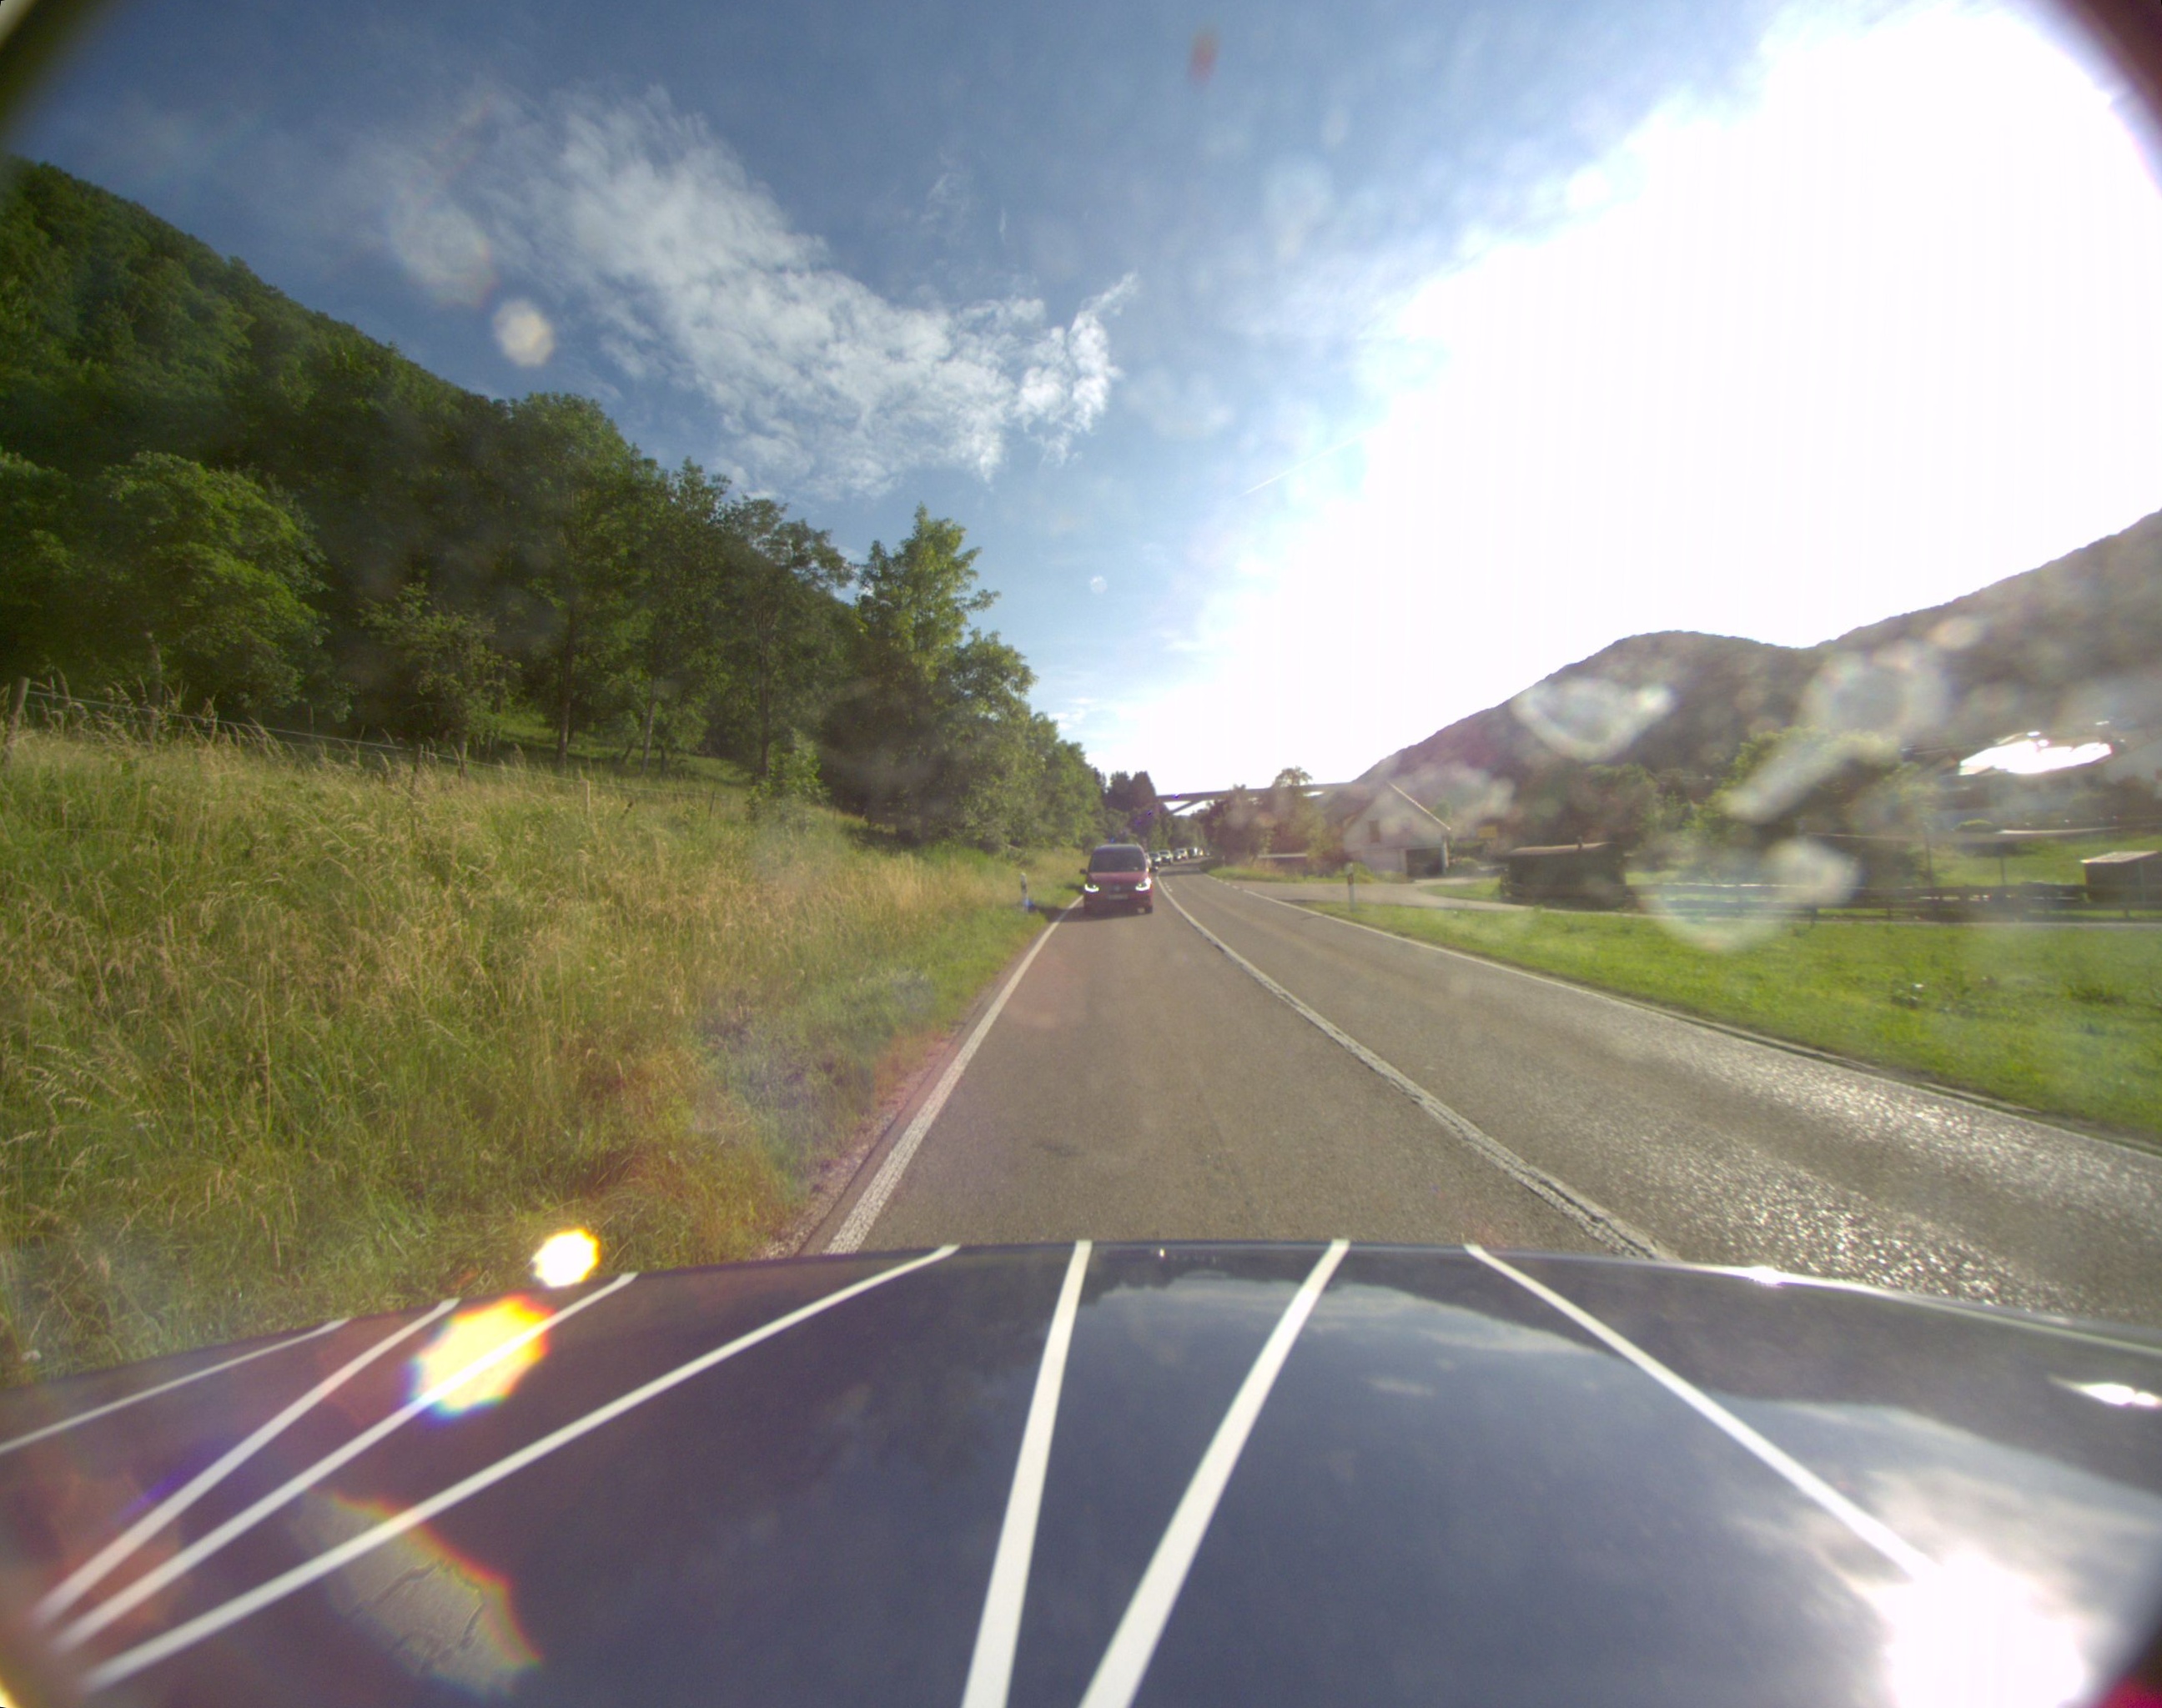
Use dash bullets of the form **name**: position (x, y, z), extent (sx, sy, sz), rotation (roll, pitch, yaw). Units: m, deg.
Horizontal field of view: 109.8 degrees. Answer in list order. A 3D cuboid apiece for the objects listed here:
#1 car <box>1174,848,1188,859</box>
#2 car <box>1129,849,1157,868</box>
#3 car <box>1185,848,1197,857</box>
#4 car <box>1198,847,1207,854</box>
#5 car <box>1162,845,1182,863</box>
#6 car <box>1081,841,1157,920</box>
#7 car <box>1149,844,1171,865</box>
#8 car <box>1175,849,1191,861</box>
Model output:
- **car**: position (15.234, -0.034, 115.581), extent (1.817, 1.608, 4.003), rotation (-1, 1, 10)
- **car**: position (5.314, 0.354, 64.771), extent (1.840, 1.543, 4.181), rotation (-1, 1, 11)
- **car**: position (19.015, -0.267, 131.102), extent (1.817, 1.608, 4.004), rotation (-1, 1, 13)
- **car**: position (27.078, -0.734, 169.352), extent (1.840, 1.543, 4.181), rotation (-1, 1, 11)
- **car**: position (10.289, 0.015, 85.848), extent (1.913, 2.002, 4.003), rotation (-1, 1, 11)
- **car**: position (1.021, 0.632, 20.444), extent (1.772, 1.855, 3.876), rotation (-2, 0, 3)
- **car**: position (7.913, 0.030, 76.084), extent (1.913, 2.002, 4.003), rotation (-1, 1, 10)
- **car**: position (13.713, 0.159, 102.180), extent (1.840, 1.543, 4.181), rotation (-1, 1, 11)
